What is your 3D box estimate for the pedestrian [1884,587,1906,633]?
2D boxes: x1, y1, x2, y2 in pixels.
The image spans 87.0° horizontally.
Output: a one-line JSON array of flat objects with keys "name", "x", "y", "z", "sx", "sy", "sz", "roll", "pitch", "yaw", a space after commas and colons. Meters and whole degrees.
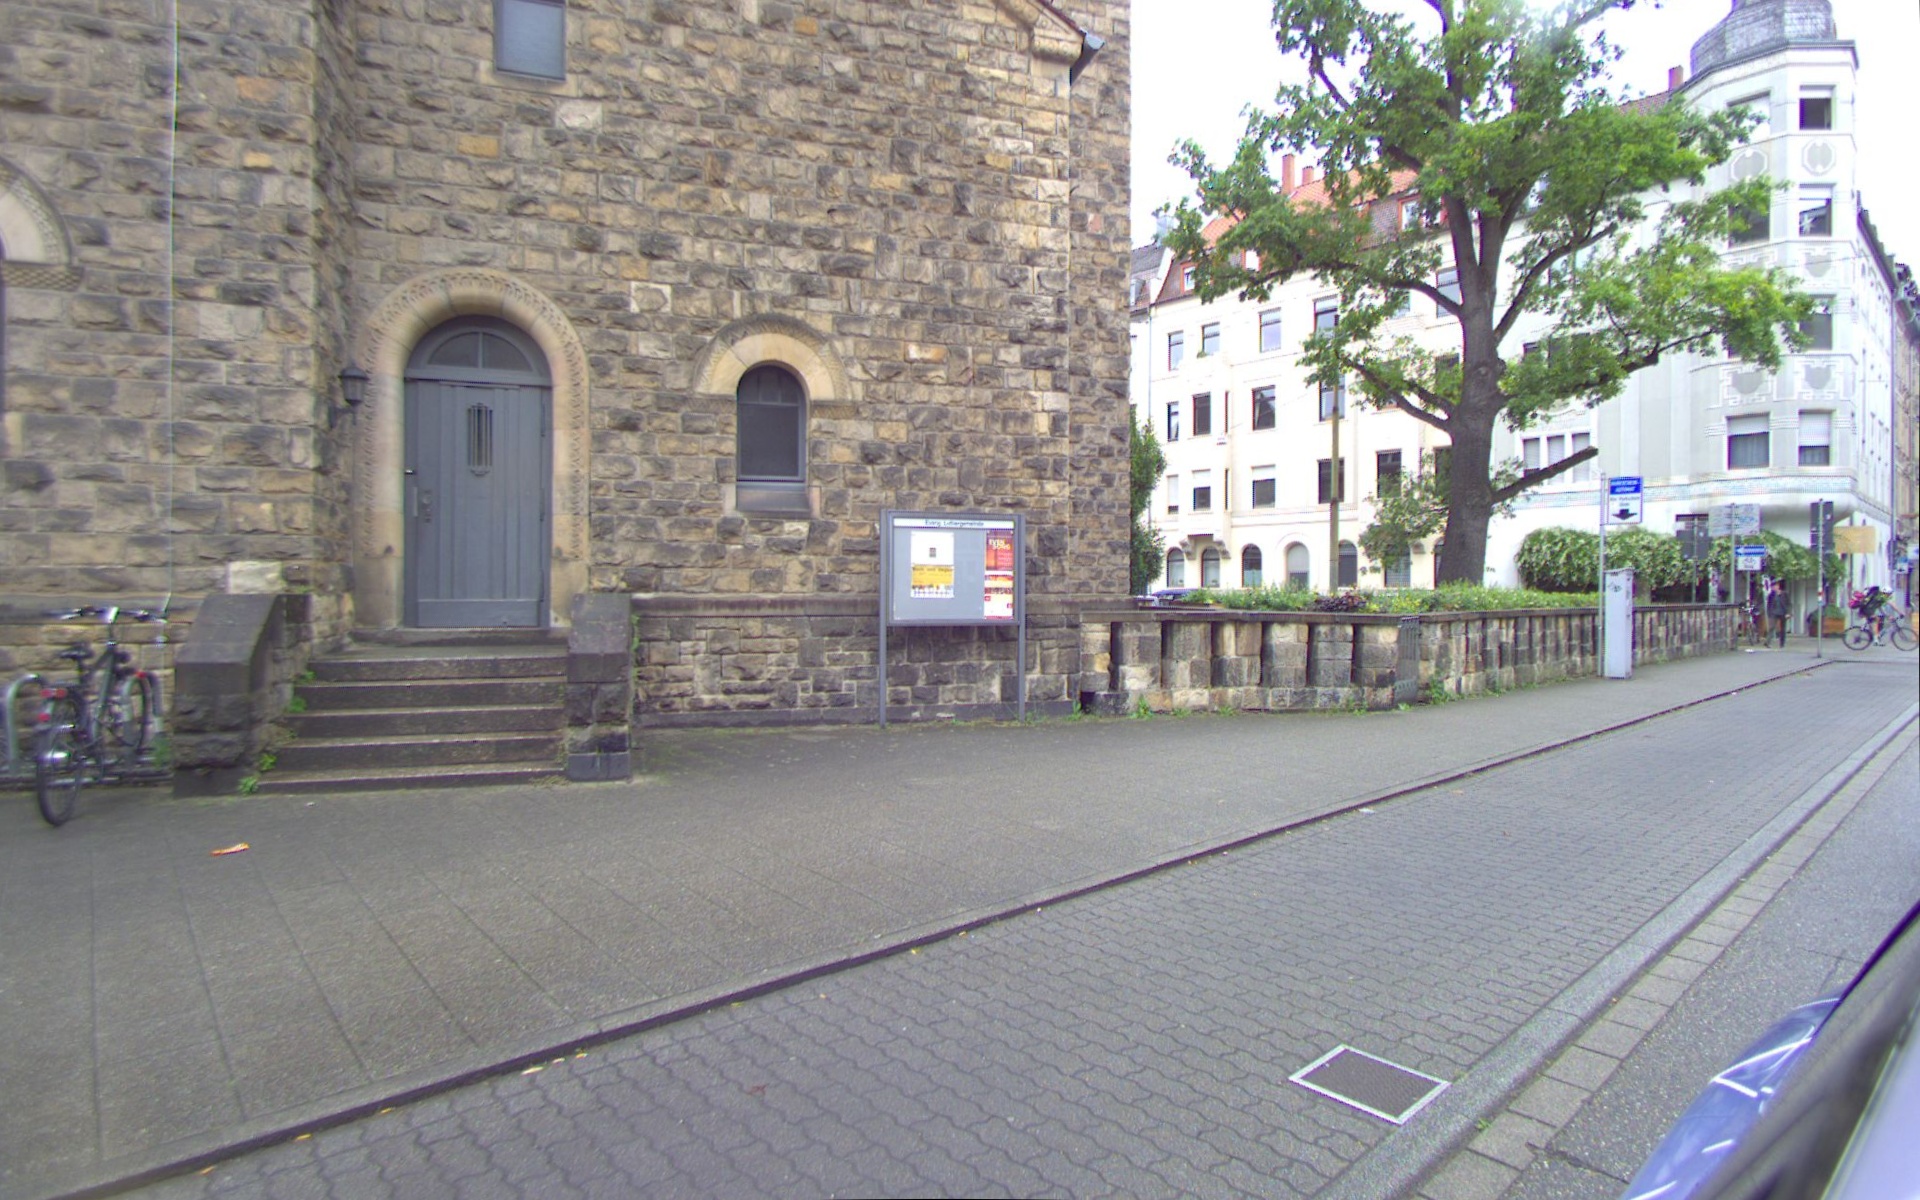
[{"name": "pedestrian", "x": 30.679, "y": 0.325, "z": 33.200, "sx": 0.385, "sy": 1.479, "sz": 0.481, "roll": 0, "pitch": 1, "yaw": -42}]

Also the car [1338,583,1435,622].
[{"name": "car", "x": 16.850, "y": 0.076, "z": 40.068, "sx": 1.421, "sy": 1.427, "sz": 3.271, "roll": 0, "pitch": 1, "yaw": -38}]

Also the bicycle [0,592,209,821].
[{"name": "bicycle", "x": -5.040, "y": 0.529, "z": 6.078, "sx": 0.502, "sy": 1.067, "sz": 1.994, "roll": 0, "pitch": 3, "yaw": -27}]

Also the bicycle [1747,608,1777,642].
[{"name": "bicycle", "x": 24.491, "y": 0.736, "z": 30.891, "sx": 1.990, "sy": 0.904, "sz": 0.390, "roll": -3, "pitch": 3, "yaw": -42}]

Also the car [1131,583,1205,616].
[{"name": "car", "x": 9.754, "y": -0.045, "z": 47.696, "sx": 1.421, "sy": 1.427, "sz": 3.271, "roll": 0, "pitch": 1, "yaw": -38}]

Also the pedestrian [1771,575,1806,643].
[{"name": "pedestrian", "x": 23.357, "y": 0.241, "z": 28.527, "sx": 0.681, "sy": 1.896, "sz": 0.645, "roll": 0, "pitch": 1, "yaw": -42}]

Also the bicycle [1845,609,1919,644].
[{"name": "bicycle", "x": 24.831, "y": 0.696, "z": 27.013, "sx": 1.756, "sy": 0.896, "sz": 0.534, "roll": 0, "pitch": 0, "yaw": 16}]

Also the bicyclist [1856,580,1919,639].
[{"name": "bicyclist", "x": 24.768, "y": 0.242, "z": 27.024, "sx": 1.119, "sy": 1.549, "sz": 0.534, "roll": 0, "pitch": 0, "yaw": 16}]

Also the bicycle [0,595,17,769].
[{"name": "bicycle", "x": -6.268, "y": 0.573, "z": 5.975, "sx": 0.550, "sy": 1.125, "sz": 1.717, "roll": 0, "pitch": 3, "yaw": -27}]
